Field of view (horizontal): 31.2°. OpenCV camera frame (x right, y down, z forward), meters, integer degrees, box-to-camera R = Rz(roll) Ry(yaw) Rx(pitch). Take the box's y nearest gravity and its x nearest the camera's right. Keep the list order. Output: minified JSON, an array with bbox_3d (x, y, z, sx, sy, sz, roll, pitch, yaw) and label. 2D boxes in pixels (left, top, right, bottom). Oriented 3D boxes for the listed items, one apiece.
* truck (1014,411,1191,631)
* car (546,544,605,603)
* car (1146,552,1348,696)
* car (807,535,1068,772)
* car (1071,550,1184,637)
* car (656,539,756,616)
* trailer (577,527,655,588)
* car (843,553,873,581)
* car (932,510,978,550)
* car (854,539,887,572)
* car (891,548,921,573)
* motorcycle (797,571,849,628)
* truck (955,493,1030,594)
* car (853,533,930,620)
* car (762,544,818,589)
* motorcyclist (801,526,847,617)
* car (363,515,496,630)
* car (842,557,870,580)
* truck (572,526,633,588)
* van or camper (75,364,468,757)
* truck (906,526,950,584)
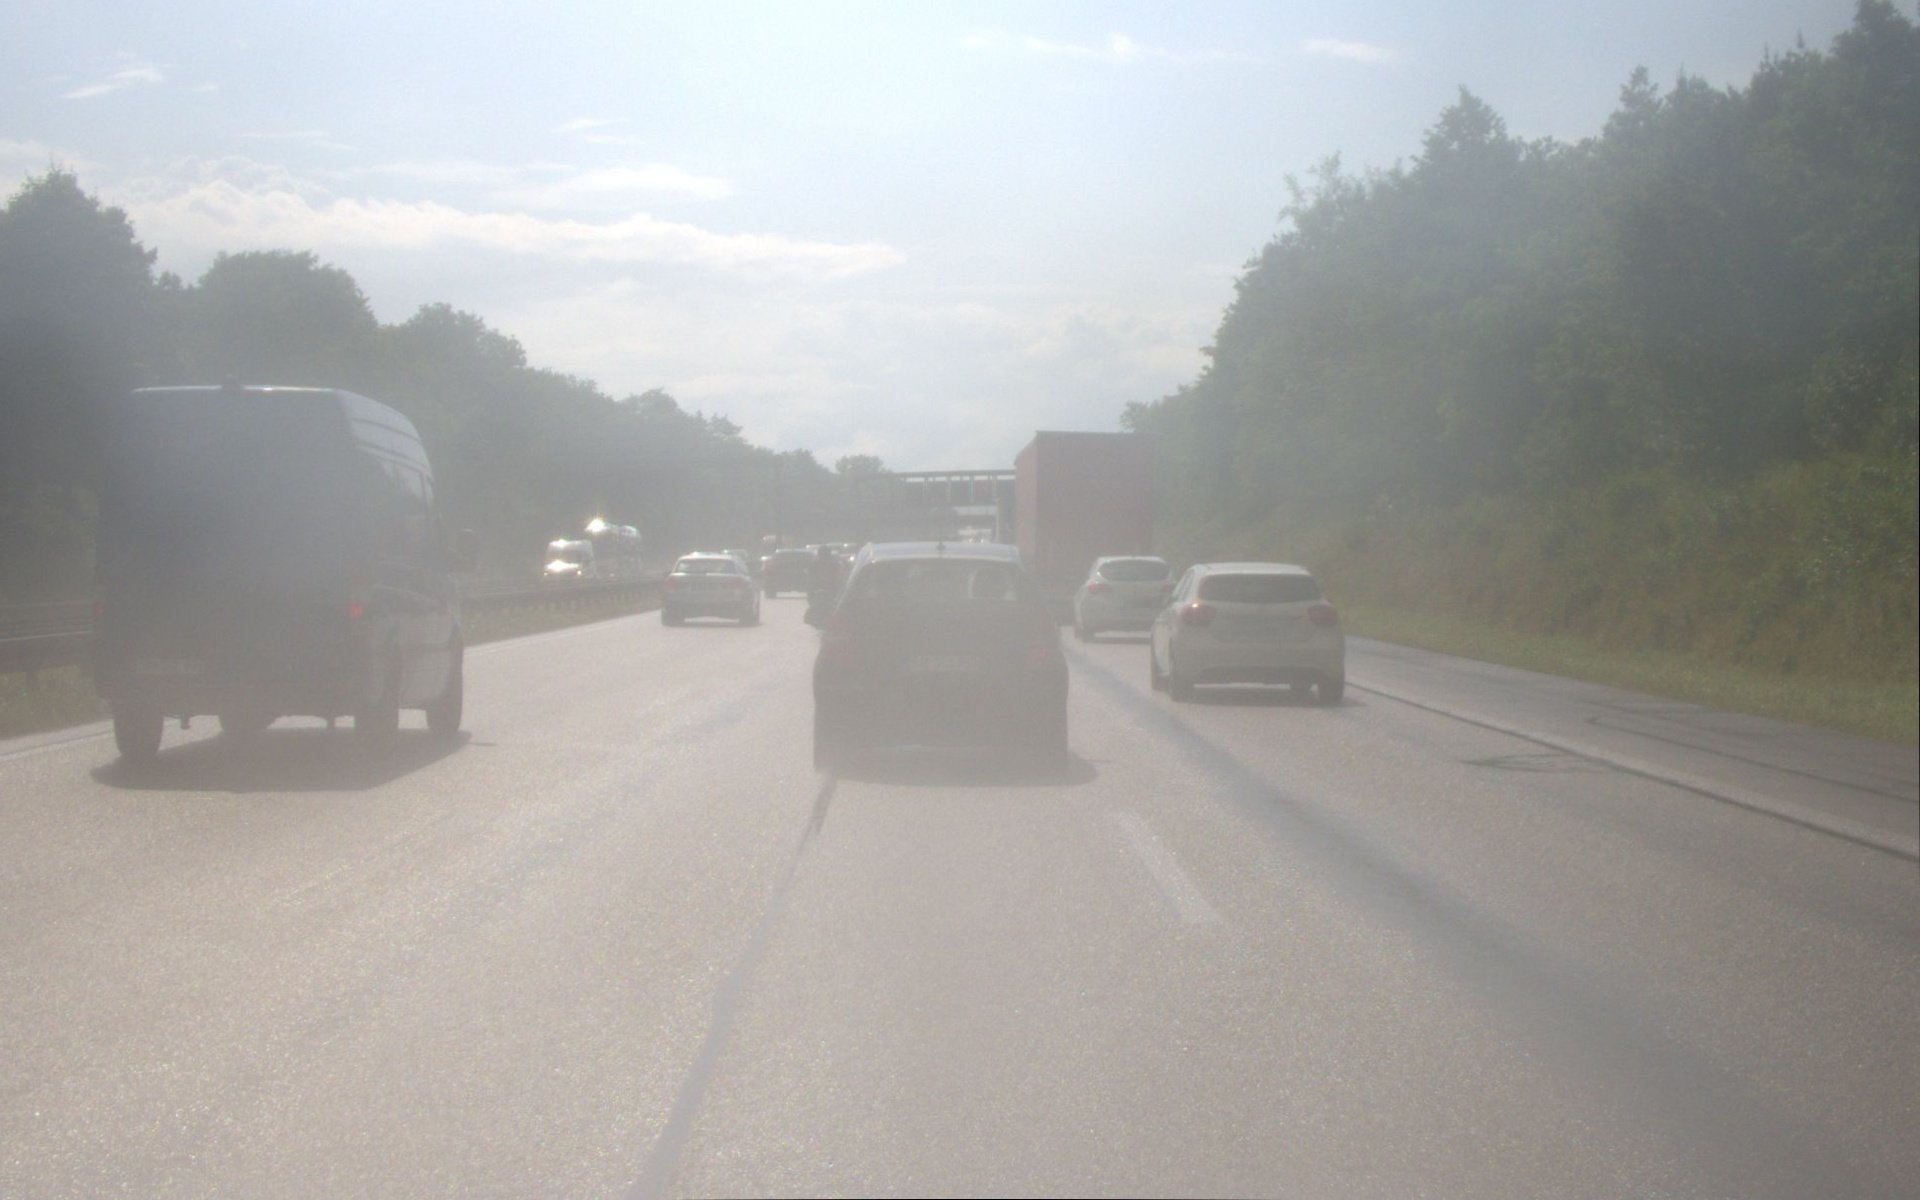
[{"bbox_3d":[3.199,-1.783,82.358,3.650,4.704,16.779,1,1,1],"label":"truck"},{"bbox_3d":[-19.030,-1.323,170.307,2.262,2.860,6.932,1,1,-1],"label":"car"},{"bbox_3d":[2.995,0.218,36.595,1.692,1.420,4.220,1,1,-1],"label":"car"},{"bbox_3d":[-0.185,0.338,24.592,1.717,1.562,3.485,1,1,-1],"label":"car"},{"bbox_3d":[2.874,-0.131,59.617,1.680,1.437,3.905,1,1,-1],"label":"car"},{"bbox_3d":[-5.230,-0.476,71.179,1.854,1.546,3.485,1,1,-1],"label":"car"},{"bbox_3d":[-22.486,-2.783,225.878,2.990,3.818,17.952,1,1,1],"label":"trailer"},{"bbox_3d":[-5.047,-1.642,170.379,1.485,1.385,3.199,1,1,-1],"label":"car"},{"bbox_3d":[-0.182,-2.449,120.814,1.552,1.378,3.210,1,1,-1],"label":"car"},{"bbox_3d":[-5.602,-2.776,214.629,1.993,2.007,4.000,-1,1,-1],"label":"car"},{"bbox_3d":[-3.739,-2.717,237.675,1.993,1.695,4.000,-1,1,-1],"label":"car"},{"bbox_3d":[-2.494,-0.023,62.842,0.890,0.997,2.896,1,1,-1],"label":"motorcycle"},{"bbox_3d":[1.502,-2.561,158.142,3.256,4.464,12.421,1,1,1],"label":"truck"},{"bbox_3d":[-1.407,-0.498,71.007,1.531,1.740,3.485,1,1,-1],"label":"car"},{"bbox_3d":[-5.629,-1.118,114.145,1.751,1.452,3.390,1,1,-1],"label":"car"},{"bbox_3d":[-2.473,-0.522,62.793,0.801,1.627,1.013,1,0,-1],"label":"motorcyclist"},{"bbox_3d":[-11.812,-0.615,76.872,2.183,2.444,5.748,1,1,-1],"label":"car"},{"bbox_3d":[-5.828,-1.798,193.051,1.549,1.262,3.485,1,1,-1],"label":"car"},{"bbox_3d":[-22.623,-2.701,217.567,2.990,3.818,6.864,1,1,1],"label":"truck"},{"bbox_3d":[-5.085,-0.297,26.163,1.993,2.659,5.385,1,1,-1],"label":"van or camper"},{"bbox_3d":[-1.642,-2.275,174.413,2.192,2.865,4.850,1,1,-1],"label":"truck"}]
